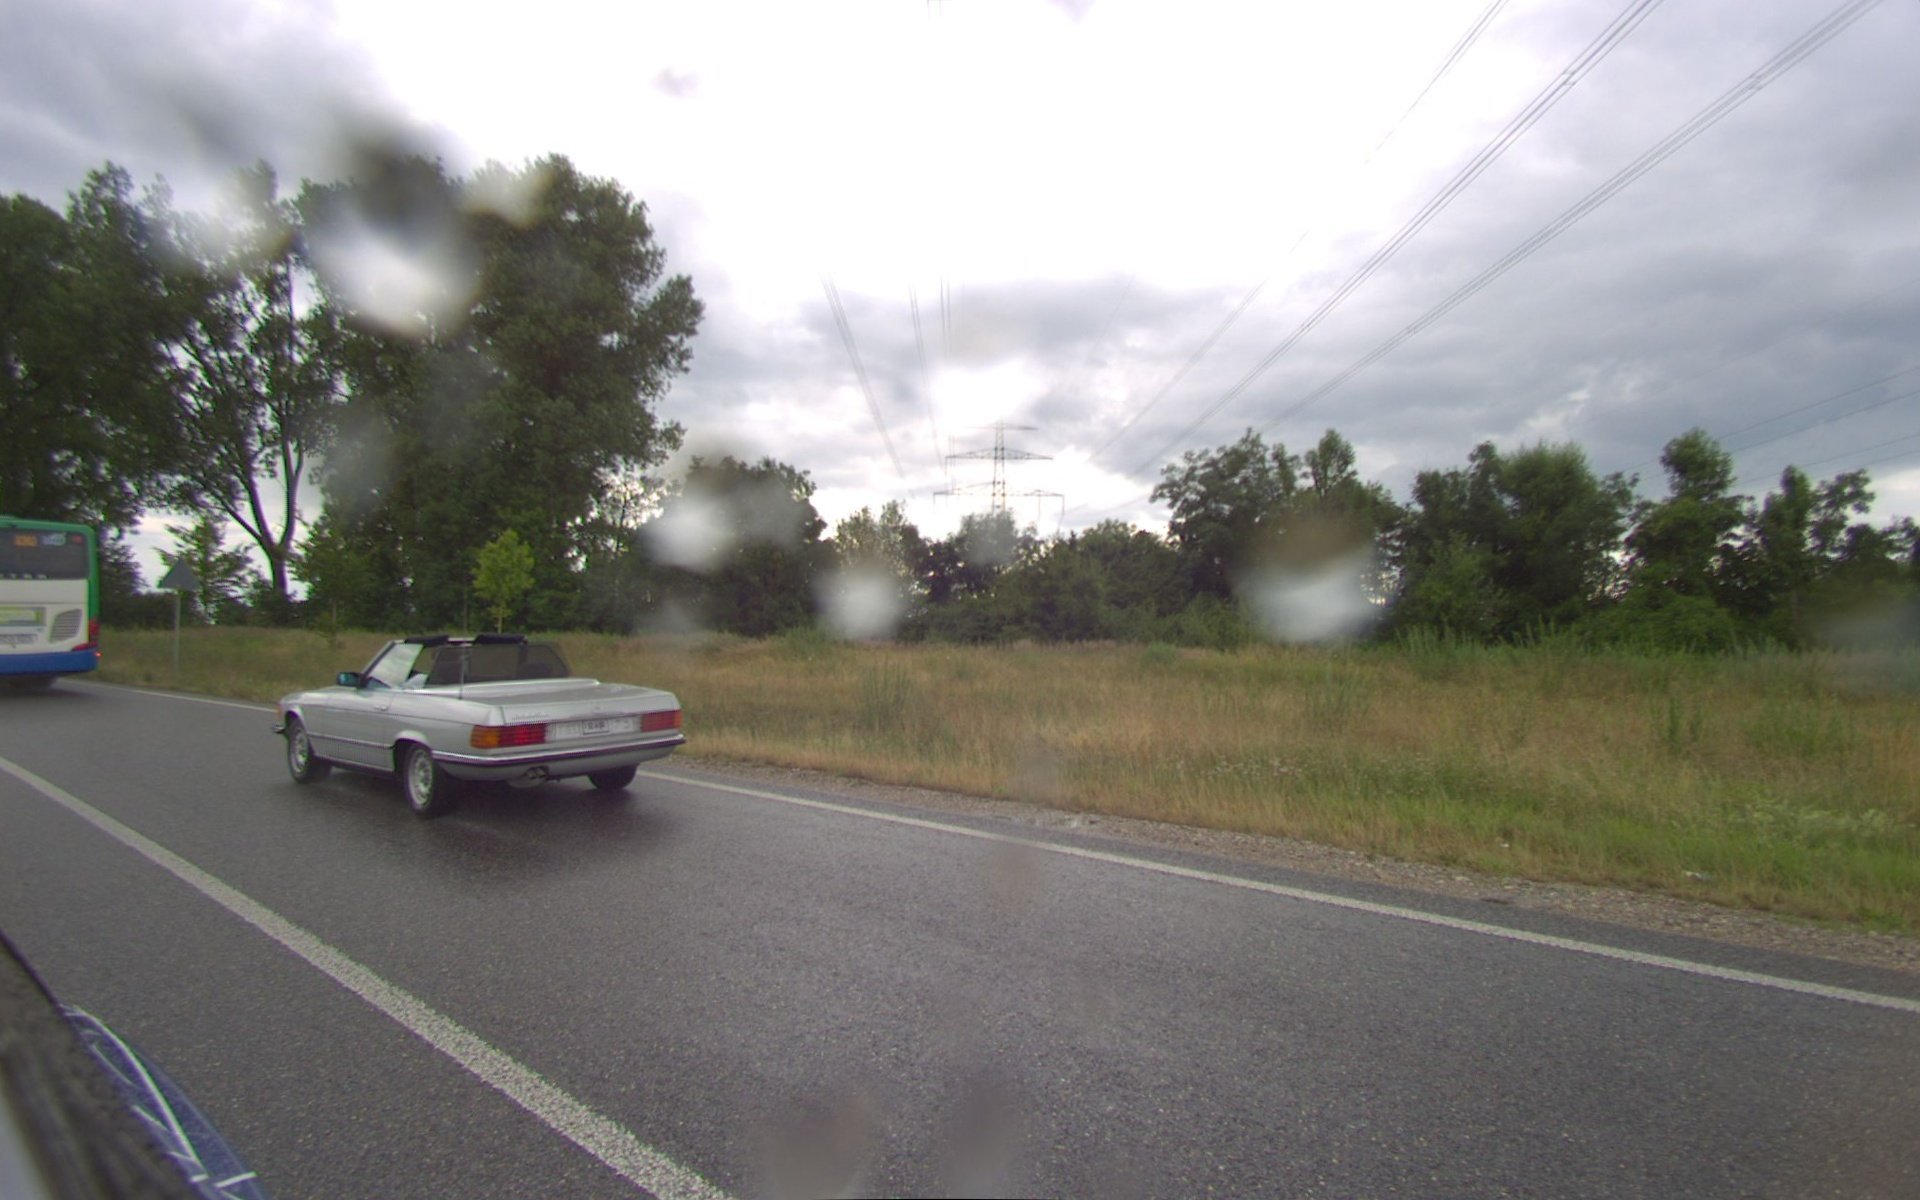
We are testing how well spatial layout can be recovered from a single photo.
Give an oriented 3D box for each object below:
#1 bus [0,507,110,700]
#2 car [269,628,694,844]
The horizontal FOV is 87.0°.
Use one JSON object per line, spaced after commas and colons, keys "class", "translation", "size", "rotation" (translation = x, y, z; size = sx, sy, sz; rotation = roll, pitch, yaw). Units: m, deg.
{"class": "bus", "translation": [-21.573, 0.147, 21.276], "size": [12.476, 3.323, 2.734], "rotation": [-1, -1, 36]}
{"class": "car", "translation": [-4.055, 0.904, 8.274], "size": [3.998, 1.260, 1.701], "rotation": [-1, 0, 41]}
